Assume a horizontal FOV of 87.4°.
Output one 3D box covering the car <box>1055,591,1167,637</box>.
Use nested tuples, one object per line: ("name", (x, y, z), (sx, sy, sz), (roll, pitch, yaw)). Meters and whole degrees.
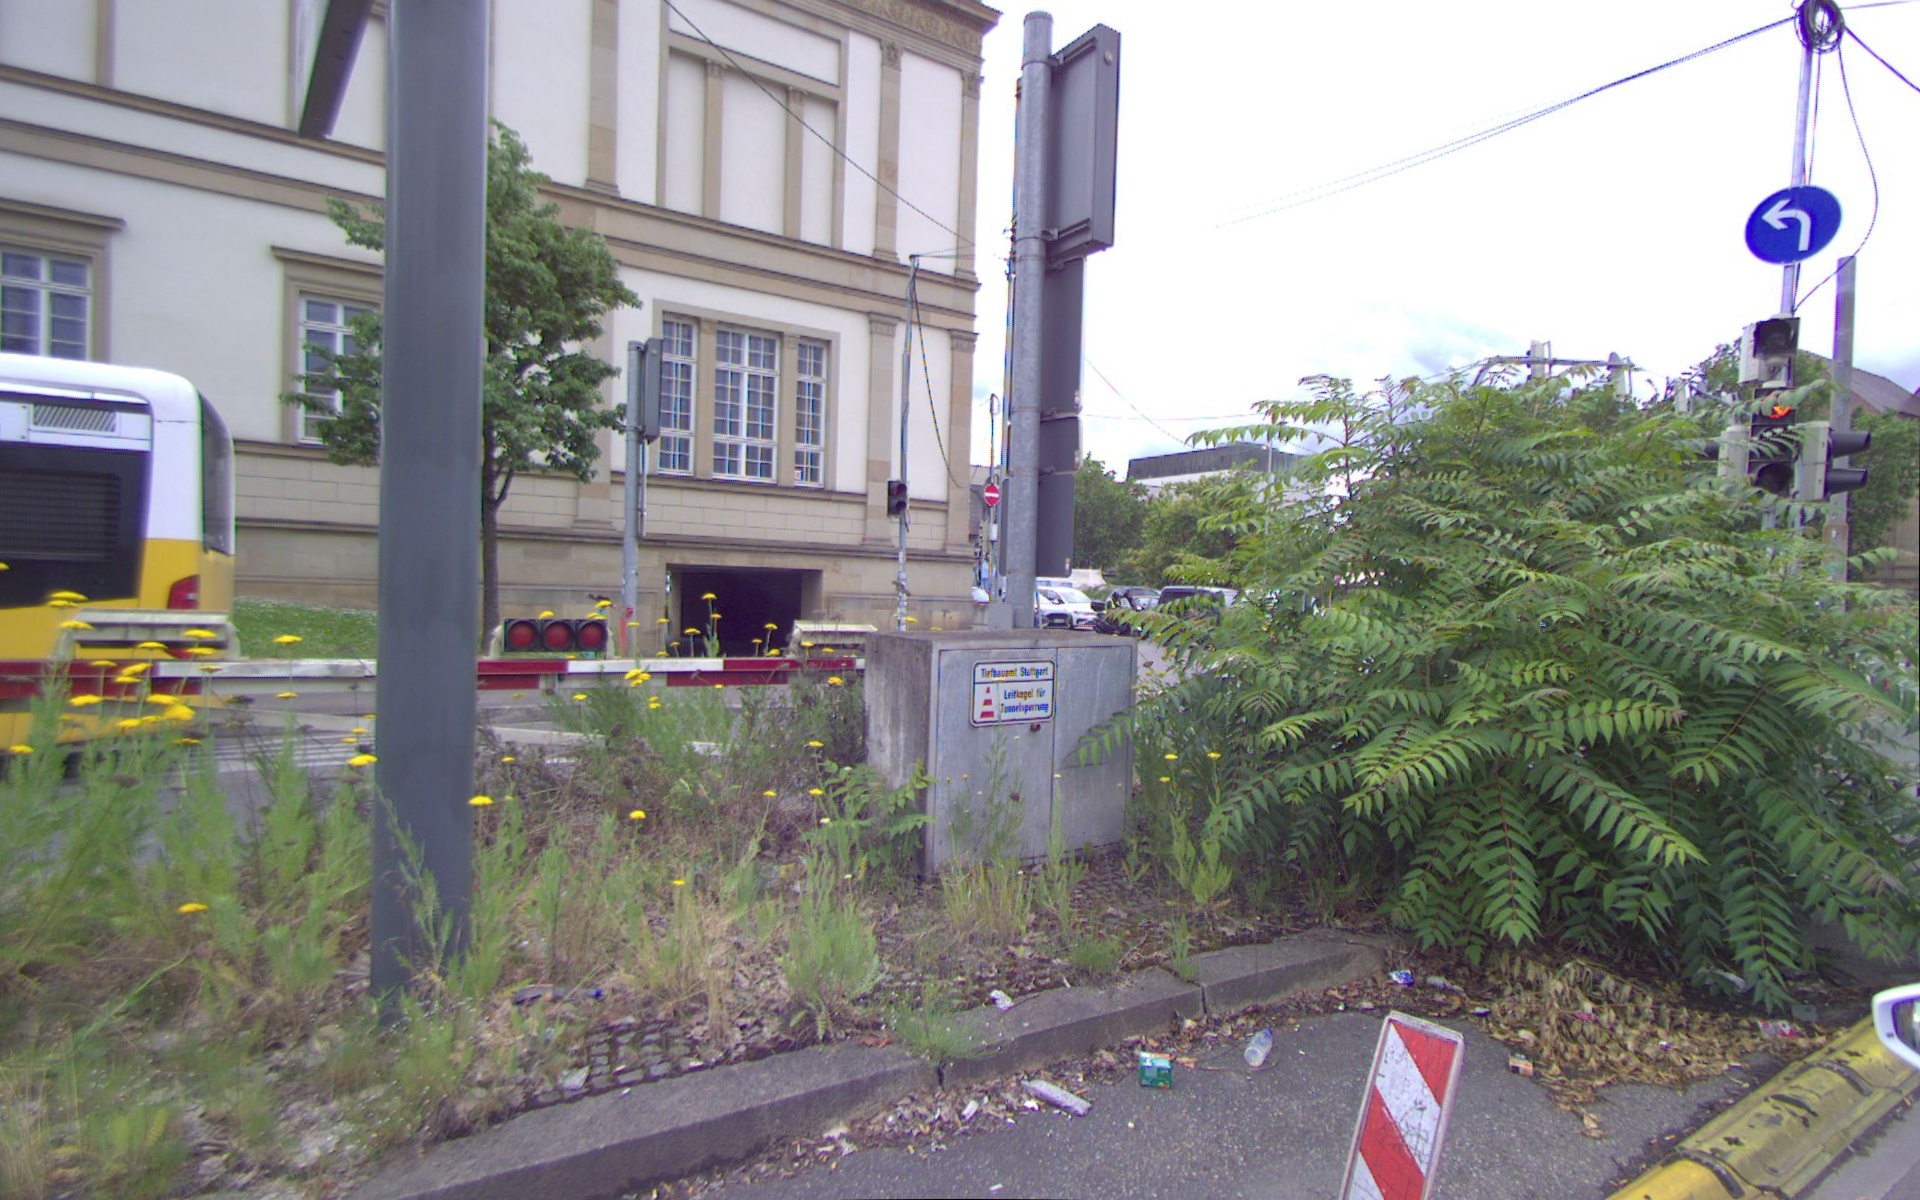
("car", (5.644, 0.500, 37.899), (1.978, 1.568, 4.084), (2, 0, -32))

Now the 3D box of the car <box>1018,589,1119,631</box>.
("car", (4.373, 0.389, 40.946), (1.978, 1.568, 4.084), (2, 0, -32))

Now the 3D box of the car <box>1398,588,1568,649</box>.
("car", (16.864, 0.567, 32.564), (1.985, 1.783, 4.451), (2, 0, -41))

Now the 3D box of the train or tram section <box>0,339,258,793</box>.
("train or tram section", (-10.171, -0.278, 6.280), (9.229, 3.112, 2.680), (1, -1, -31))

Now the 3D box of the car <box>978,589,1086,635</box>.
("car", (2.629, 0.420, 37.666), (1.978, 1.568, 4.083), (2, 0, -32))

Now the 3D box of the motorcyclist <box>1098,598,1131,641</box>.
("motorcyclist", (5.035, 0.635, 32.786), (0.690, 1.398, 0.784), (2, 0, -33))

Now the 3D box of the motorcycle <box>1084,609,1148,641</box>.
("motorcycle", (5.061, 0.807, 32.722), (0.690, 0.953, 2.335), (2, 0, -32))

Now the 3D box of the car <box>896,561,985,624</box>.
("car", (-0.912, -0.334, 43.723), (1.978, 2.585, 4.083), (2, 0, -32))
